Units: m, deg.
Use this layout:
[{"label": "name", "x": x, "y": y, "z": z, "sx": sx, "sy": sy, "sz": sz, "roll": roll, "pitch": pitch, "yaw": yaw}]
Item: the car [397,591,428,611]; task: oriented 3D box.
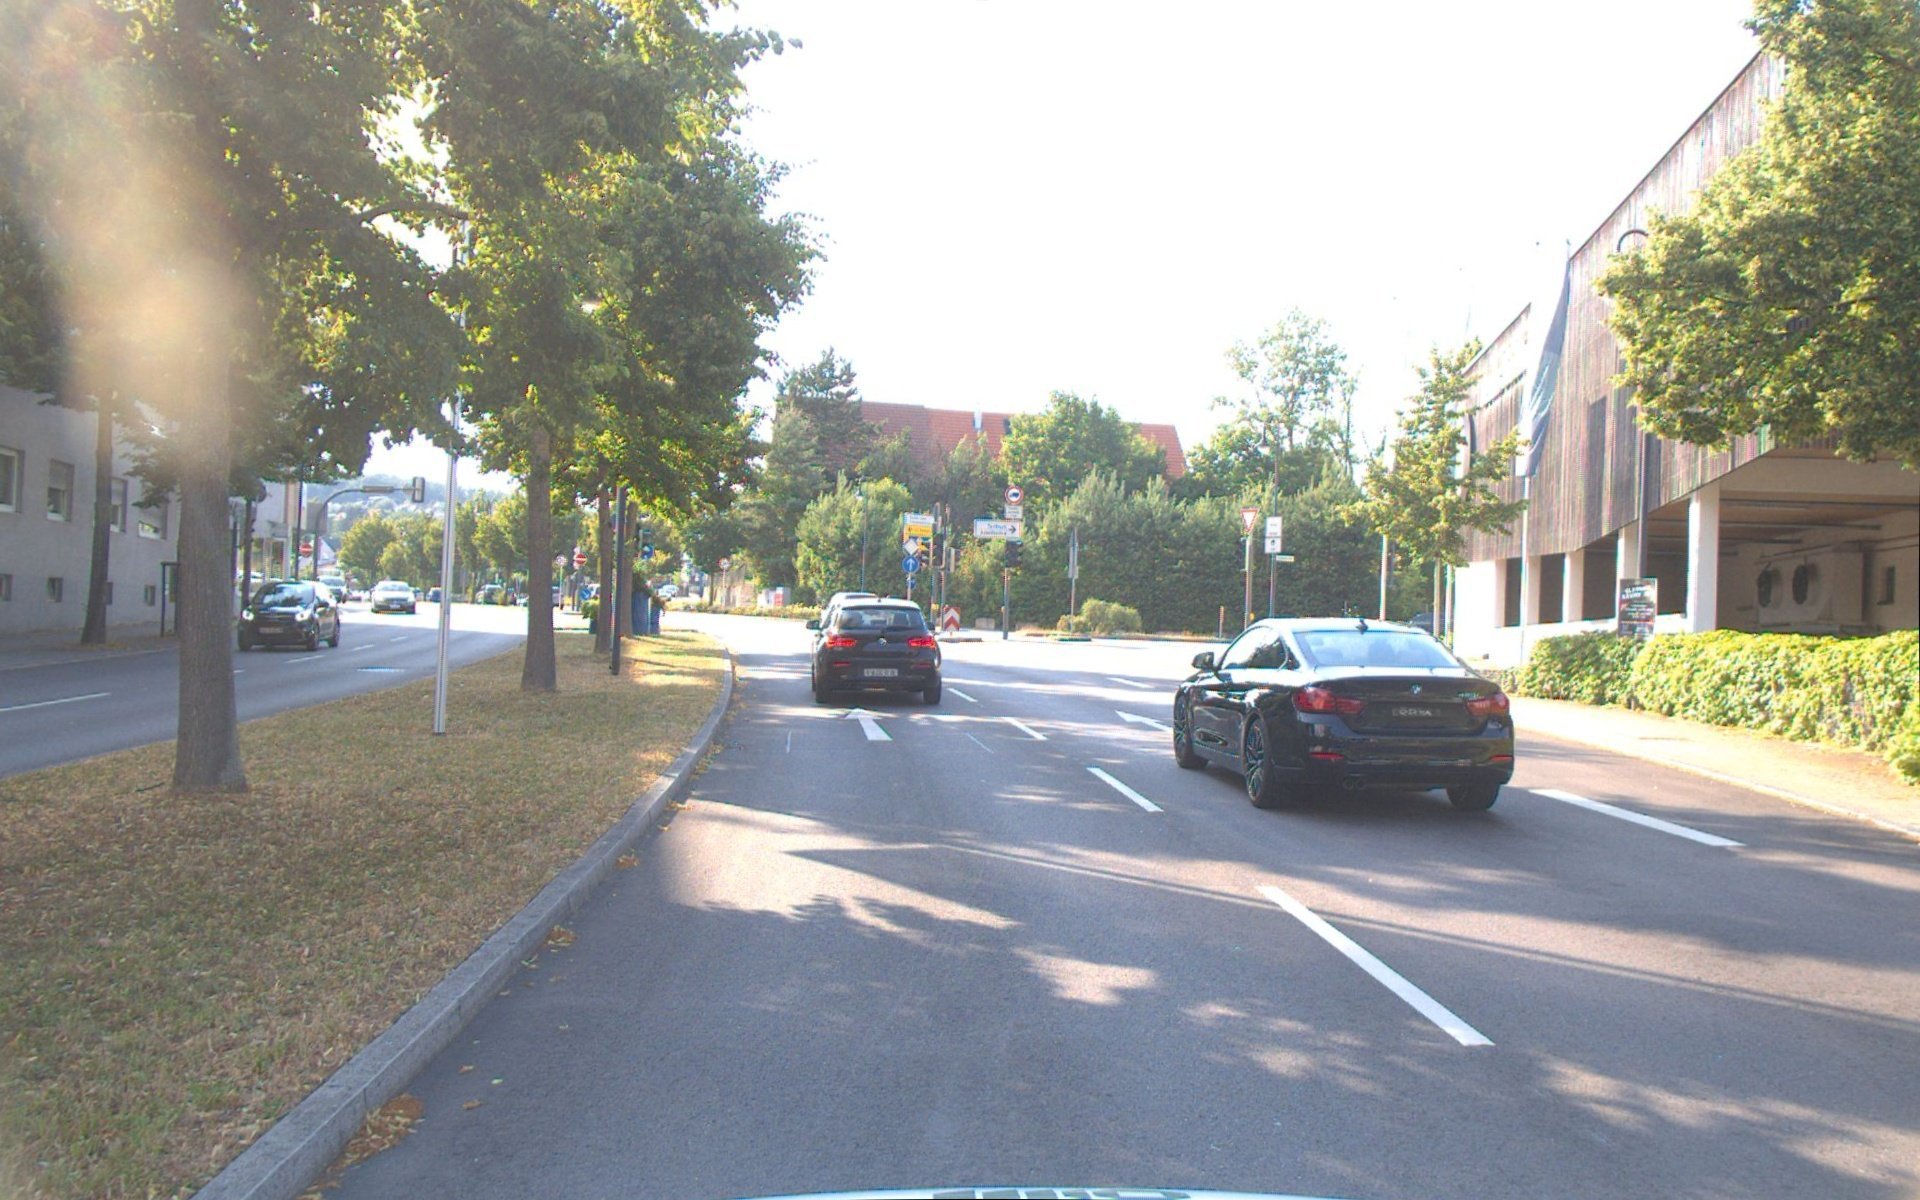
[{"label": "car", "x": -53.168, "y": 0.082, "z": 160.600, "sx": 2.190, "sy": 1.800, "sz": 4.415, "roll": 1, "pitch": 0, "yaw": -27}]

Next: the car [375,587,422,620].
[{"label": "car", "x": -26.364, "y": 0.148, "z": 77.612, "sx": 1.826, "sy": 1.512, "sz": 4.963, "roll": 1, "pitch": 0, "yaw": -22}]

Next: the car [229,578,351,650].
[{"label": "car", "x": -14.885, "y": 0.300, "z": 36.927, "sx": 1.575, "sy": 1.512, "sz": 3.778, "roll": 1, "pitch": 0, "yaw": -7}]

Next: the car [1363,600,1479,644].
[{"label": "car", "x": 18.150, "y": 0.840, "z": 65.159, "sx": 4.173, "sy": 1.594, "sz": 1.791, "roll": 1, "pitch": 0, "yaw": 25}]

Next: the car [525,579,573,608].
[{"label": "car", "x": -27.259, "y": -0.433, "z": 109.562, "sx": 2.190, "sy": 1.800, "sz": 4.415, "roll": 1, "pitch": 0, "yaw": -27}]

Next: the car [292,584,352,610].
[{"label": "car", "x": -44.283, "y": -0.218, "z": 114.717, "sx": 4.833, "sy": 1.767, "sz": 1.848, "roll": 1, "pitch": 0, "yaw": 41}]

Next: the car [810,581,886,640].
[{"label": "car", "x": -3.693, "y": 0.338, "z": 53.682, "sx": 1.891, "sy": 1.800, "sz": 4.442, "roll": 1, "pitch": 0, "yaw": -11}]

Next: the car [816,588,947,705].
[{"label": "car", "x": -1.185, "y": 0.626, "z": 24.122, "sx": 1.687, "sy": 1.516, "sz": 4.349, "roll": 2, "pitch": 0, "yaw": -4}]

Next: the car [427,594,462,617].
[{"label": "car", "x": -44.790, "y": 0.487, "z": 143.521, "sx": 2.190, "sy": 1.891, "sz": 4.415, "roll": 1, "pitch": 0, "yaw": -27}]

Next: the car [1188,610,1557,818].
[{"label": "car", "x": 3.106, "y": 0.790, "z": 13.420, "sx": 1.881, "sy": 1.388, "sz": 4.352, "roll": 1, "pitch": 0, "yaw": 0}]

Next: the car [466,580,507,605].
[{"label": "car", "x": -36.026, "y": -0.590, "z": 125.772, "sx": 2.190, "sy": 1.800, "sz": 4.415, "roll": 1, "pitch": 0, "yaw": -27}]

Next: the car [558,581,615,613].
[{"label": "car", "x": -21.657, "y": -0.187, "z": 95.731, "sx": 2.190, "sy": 1.800, "sz": 4.415, "roll": 1, "pitch": 0, "yaw": -27}]
